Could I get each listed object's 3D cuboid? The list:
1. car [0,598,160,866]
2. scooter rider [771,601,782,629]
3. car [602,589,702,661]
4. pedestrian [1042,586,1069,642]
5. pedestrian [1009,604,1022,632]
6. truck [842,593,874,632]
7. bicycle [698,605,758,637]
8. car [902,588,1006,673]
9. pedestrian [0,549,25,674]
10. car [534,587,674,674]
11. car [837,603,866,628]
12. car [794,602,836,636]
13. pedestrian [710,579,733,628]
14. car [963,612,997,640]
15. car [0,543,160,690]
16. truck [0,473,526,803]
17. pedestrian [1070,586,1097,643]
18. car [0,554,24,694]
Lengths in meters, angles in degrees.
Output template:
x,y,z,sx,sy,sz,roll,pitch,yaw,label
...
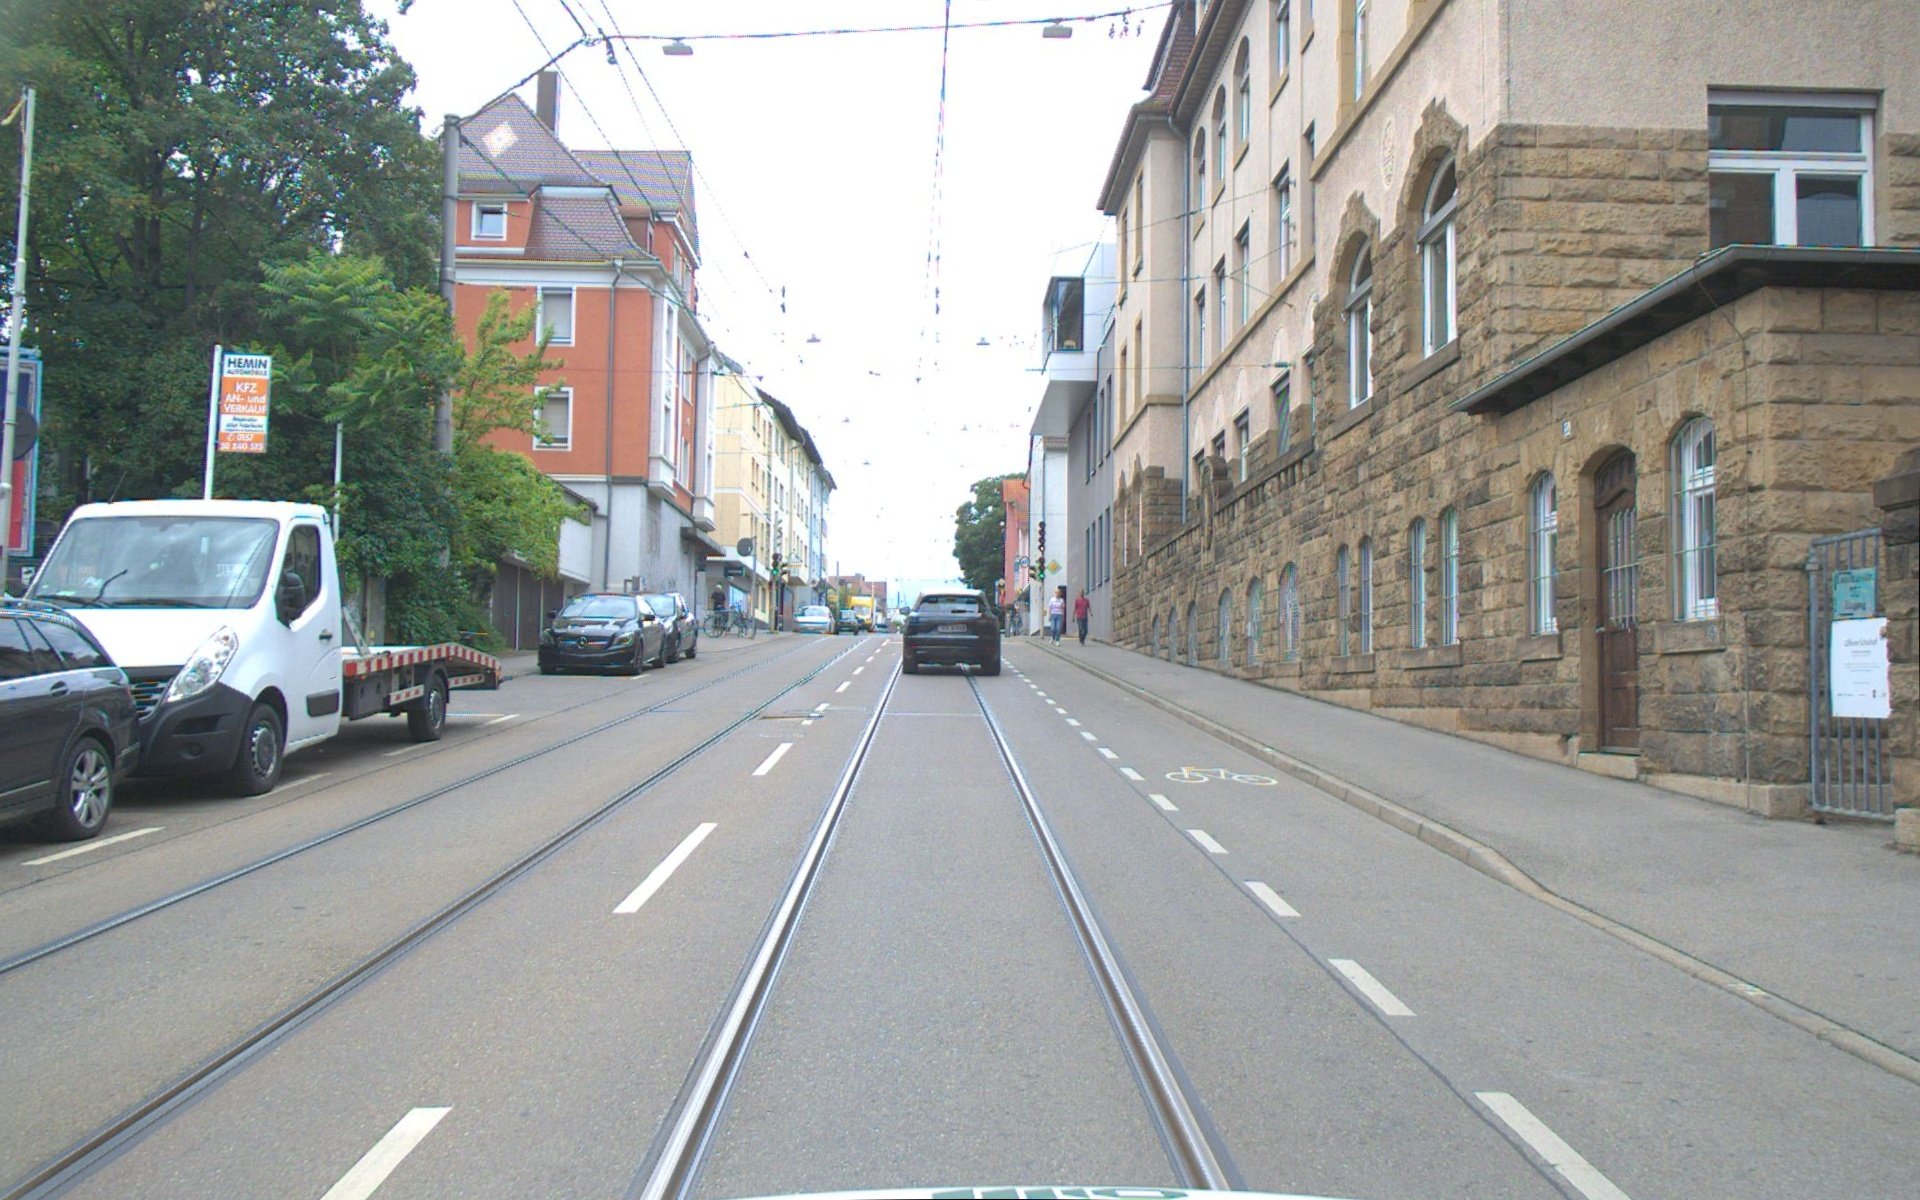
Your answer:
x,y,z,sx,sy,sz,roll,pitch,yaw,label
-6.061,0.739,8.712,1.663,1.458,4.479,-1,0,-3,car
-10.959,0.891,98.759,0.635,1.613,0.765,1,0,-5,scooter rider
-6.621,0.512,35.903,1.484,1.472,3.709,1,0,-1,car
2.916,0.425,50.625,0.775,1.696,0.799,1,0,1,pedestrian
3.405,1.103,101.859,0.775,1.696,0.799,1,0,1,pedestrian
-8.352,1.035,136.347,2.256,3.090,9.031,1,0,-1,truck
-7.561,0.681,53.923,1.872,1.017,0.479,1,0,-1,bicycle
-0.141,0.572,33.598,1.953,1.590,4.289,1,0,-1,car
-13.131,0.149,22.082,0.757,1.663,0.840,1,0,3,pedestrian
-6.476,0.515,30.507,1.677,1.472,4.289,1,0,-1,car
-7.614,1.082,116.137,1.817,1.635,4.296,1,0,-1,car
-7.320,0.920,83.602,1.817,1.635,4.296,1,0,-1,car
-8.961,0.132,62.126,0.759,1.807,0.650,1,0,0,pedestrian
1.205,1.576,101.915,1.953,1.590,4.289,1,0,-1,car
-11.210,0.156,18.386,3.895,1.578,1.681,1,0,-16,car
-6.204,0.250,15.292,2.233,2.226,8.024,1,0,0,truck
3.776,0.438,50.703,0.775,1.696,0.799,1,0,1,pedestrian
-11.327,0.205,15.770,3.798,1.381,1.687,1,0,-2,car
